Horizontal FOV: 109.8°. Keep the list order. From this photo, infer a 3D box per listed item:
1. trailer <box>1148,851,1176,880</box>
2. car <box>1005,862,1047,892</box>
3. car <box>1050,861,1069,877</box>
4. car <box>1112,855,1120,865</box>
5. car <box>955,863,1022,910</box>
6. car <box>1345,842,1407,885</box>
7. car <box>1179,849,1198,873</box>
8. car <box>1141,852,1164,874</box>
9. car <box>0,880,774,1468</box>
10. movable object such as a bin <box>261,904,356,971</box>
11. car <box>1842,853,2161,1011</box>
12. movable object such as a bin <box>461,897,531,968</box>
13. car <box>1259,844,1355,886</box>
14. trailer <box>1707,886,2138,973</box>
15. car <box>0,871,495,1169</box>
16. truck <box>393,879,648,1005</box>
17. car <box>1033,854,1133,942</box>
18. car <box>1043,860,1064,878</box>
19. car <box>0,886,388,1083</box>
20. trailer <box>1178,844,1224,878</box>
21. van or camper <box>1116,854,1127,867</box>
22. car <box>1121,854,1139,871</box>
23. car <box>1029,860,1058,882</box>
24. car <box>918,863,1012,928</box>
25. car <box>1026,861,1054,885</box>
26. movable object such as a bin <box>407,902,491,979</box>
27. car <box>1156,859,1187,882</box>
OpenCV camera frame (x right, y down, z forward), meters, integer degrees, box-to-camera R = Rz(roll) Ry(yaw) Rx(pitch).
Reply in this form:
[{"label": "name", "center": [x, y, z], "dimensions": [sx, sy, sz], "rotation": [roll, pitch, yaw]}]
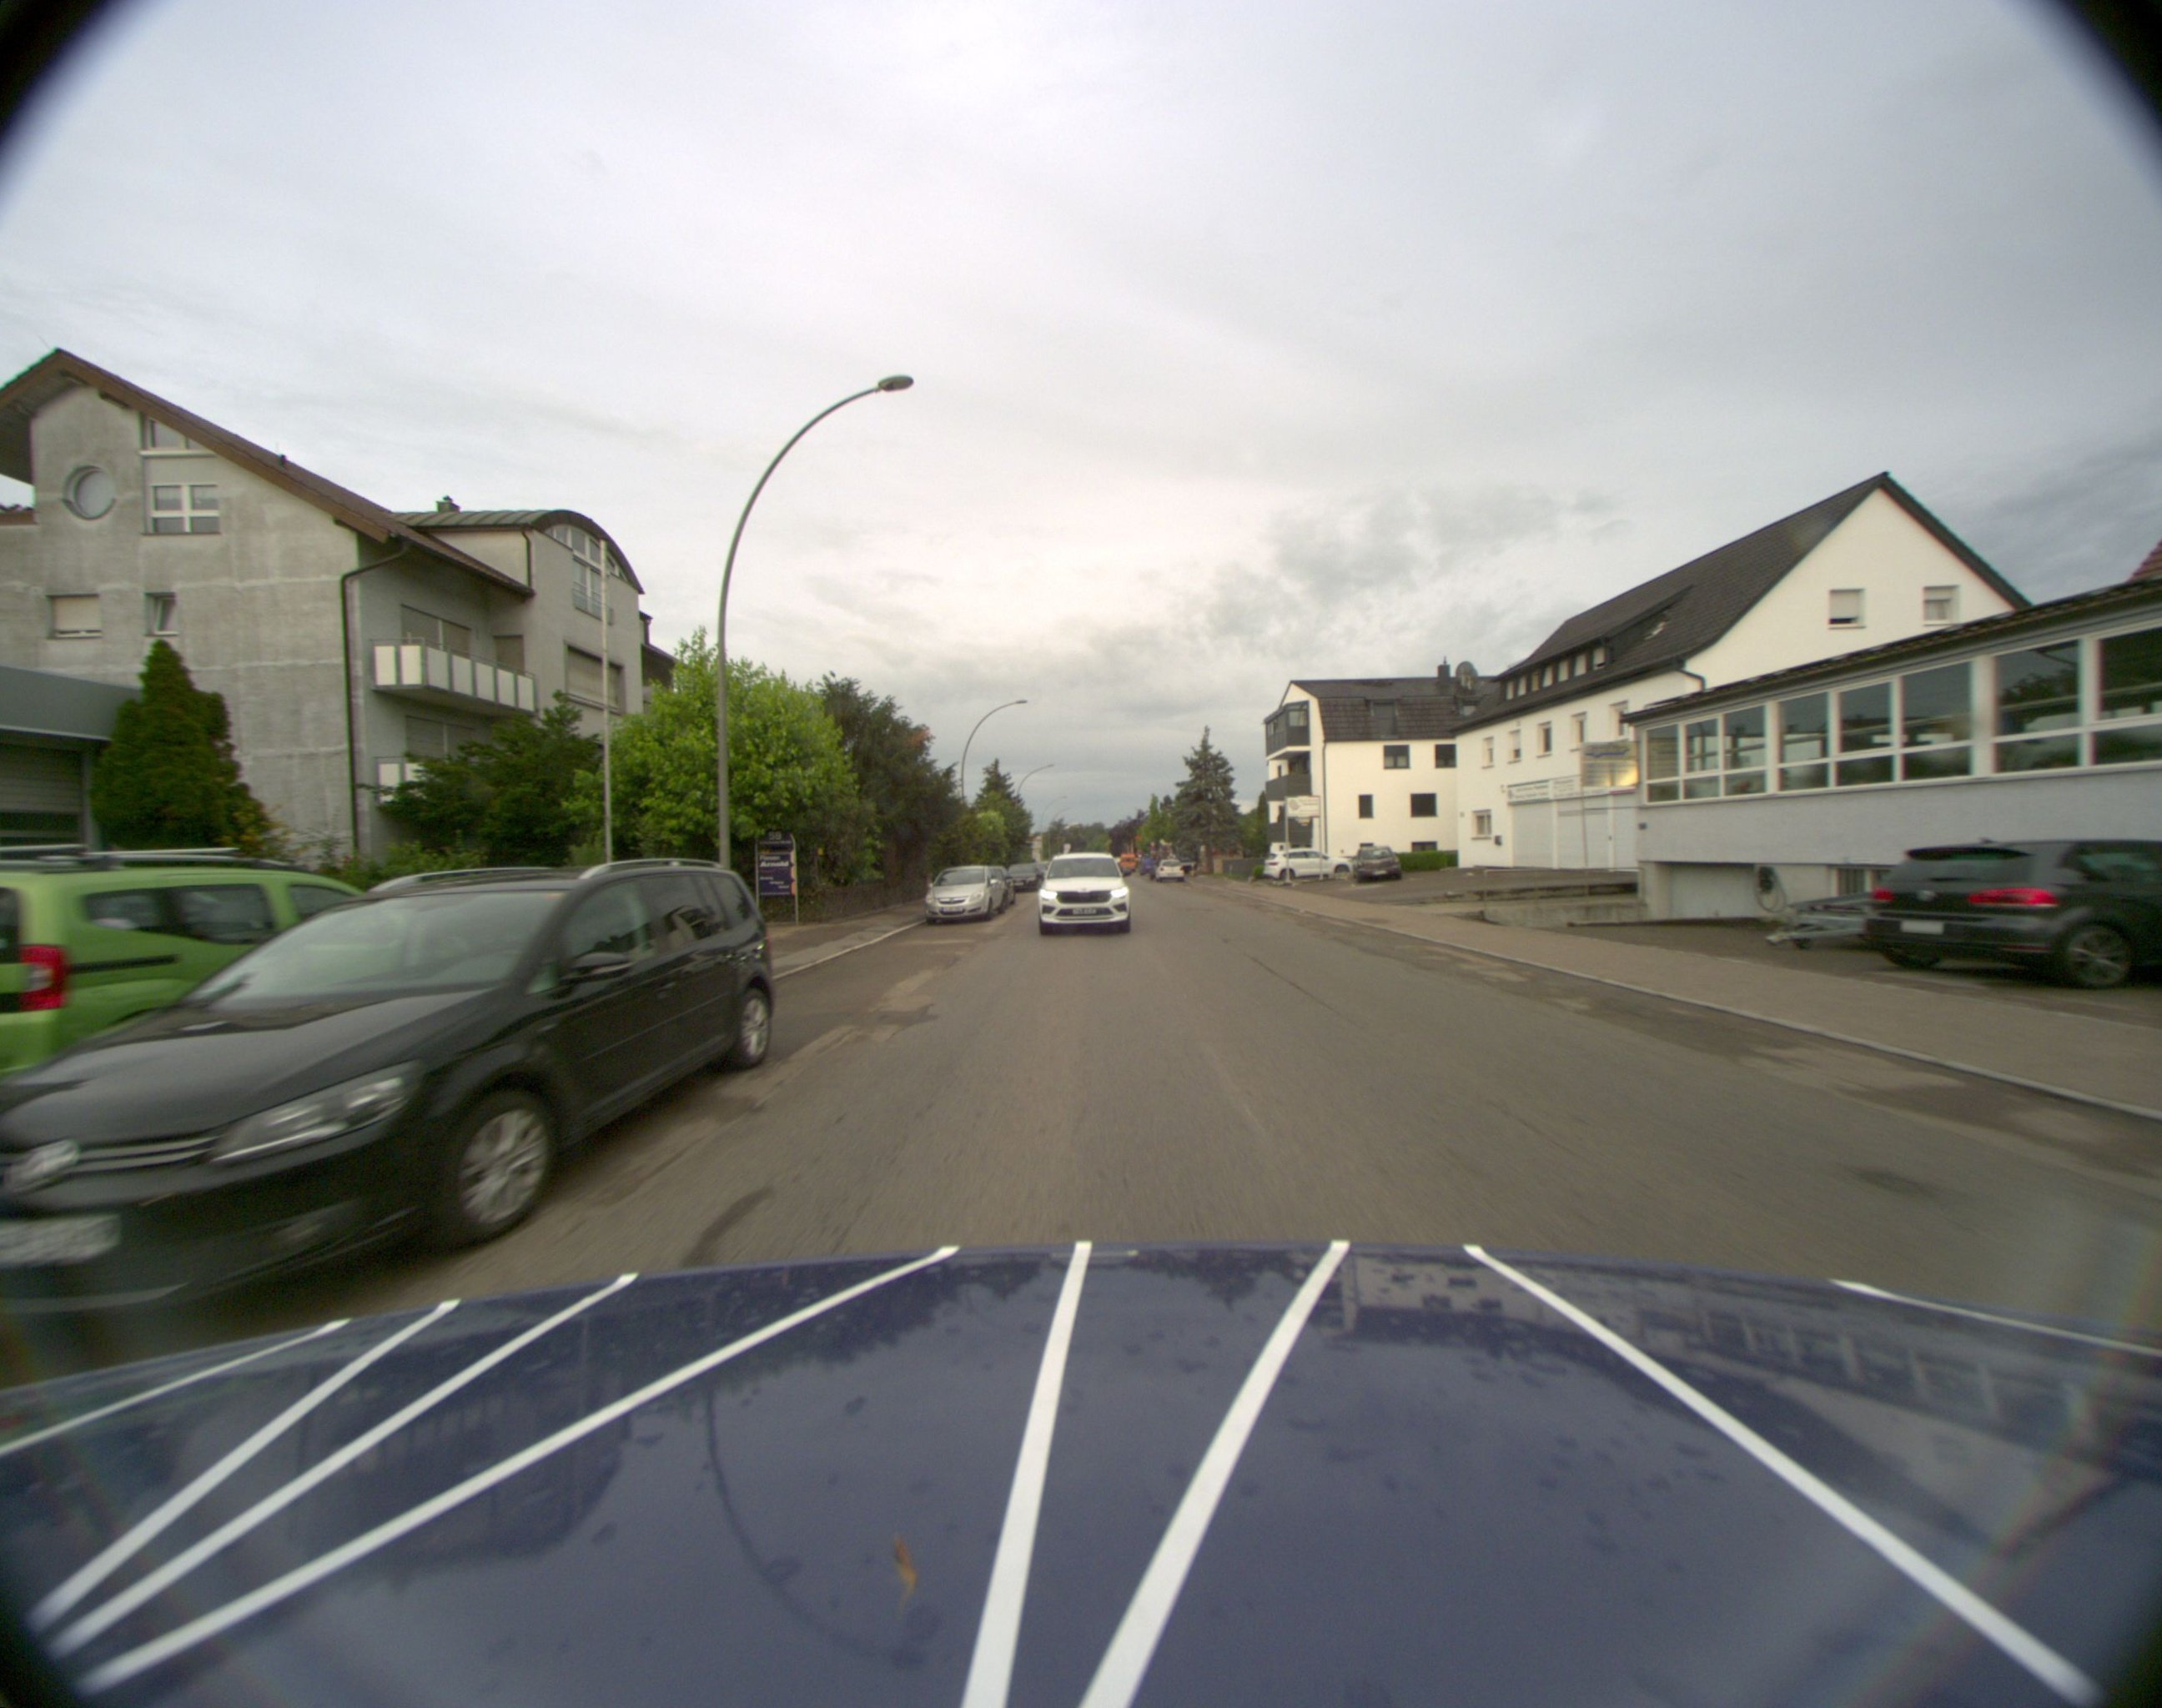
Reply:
[{"label": "trailer", "center": [6.116, 0.842, 57.802], "dimensions": [1.721, 2.114, 4.007], "rotation": [-2, 0, 1]}, {"label": "car", "center": [-2.804, 1.144, 39.298], "dimensions": [1.756, 1.410, 4.110], "rotation": [-1, 0, 1]}, {"label": "car", "center": [-2.136, 1.452, 75.595], "dimensions": [1.677, 1.455, 3.551], "rotation": [-3, 0, 1]}, {"label": "car", "center": [8.071, 1.272, 173.804], "dimensions": [1.659, 2.220, 3.744], "rotation": [-2, 0, 1]}, {"label": "car", "center": [-3.113, 1.076, 26.312], "dimensions": [1.742, 1.394, 3.719], "rotation": [-3, 0, 1]}, {"label": "car", "center": [12.613, 0.357, 32.687], "dimensions": [1.822, 1.521, 4.003], "rotation": [-7, 0, 14]}, {"label": "car", "center": [11.240, 0.709, 79.316], "dimensions": [1.569, 2.392, 3.595], "rotation": [-1, 0, 2]}, {"label": "car", "center": [7.096, 0.887, 75.681], "dimensions": [1.998, 2.112, 4.755], "rotation": [-1, 0, 2]}, {"label": "car", "center": [-3.513, 1.010, 4.200], "dimensions": [1.999, 1.586, 4.000], "rotation": [-1, 0, -1]}, {"label": "movable object such as a bin", "center": [-13.835, 1.488, 13.634], "dimensions": [0.860, 1.072, 0.759], "rotation": [-3, 1, 0]}, {"label": "car", "center": [10.871, 0.729, 8.023], "dimensions": [3.883, 1.430, 1.768], "rotation": [-1, 0, 0]}, {"label": "movable object such as a bin", "center": [-9.465, 1.250, 12.314], "dimensions": [0.576, 1.069, 0.682], "rotation": [-1, 1, 0]}, {"label": "car", "center": [11.096, 0.520, 37.457], "dimensions": [3.997, 1.637, 2.000], "rotation": [-5, 0, -1]}, {"label": "trailer", "center": [11.714, 1.022, 10.788], "dimensions": [4.208, 0.937, 1.794], "rotation": [-2, 0, -2]}, {"label": "car", "center": [-7.423, 1.046, 6.387], "dimensions": [1.999, 1.673, 3.999], "rotation": [-2, 0, -3]}, {"label": "truck", "center": [-7.518, 1.147, 10.304], "dimensions": [2.559, 1.521, 1.327], "rotation": [-1, 0, 9]}, {"label": "car", "center": [0.078, 0.862, 17.027], "dimensions": [1.884, 1.650, 4.831], "rotation": [-1, 0, 1]}, {"label": "car", "center": [-2.474, 1.346, 69.541], "dimensions": [1.677, 1.455, 3.690], "rotation": [-3, 0, 1]}, {"label": "car", "center": [-10.110, 1.189, 8.304], "dimensions": [1.752, 1.510, 3.731], "rotation": [2, 0, -3]}, {"label": "trailer", "center": [11.549, 0.669, 73.245], "dimensions": [4.059, 3.029, 2.168], "rotation": [-2, 1, 1]}, {"label": "van or camper", "center": [7.362, 1.234, 138.863], "dimensions": [1.811, 2.328, 4.000], "rotation": [-2, 0, 2]}, {"label": "car", "center": [6.930, 1.192, 107.386], "dimensions": [2.264, 2.275, 4.531], "rotation": [1, 0, 1]}, {"label": "car", "center": [-2.588, 1.153, 53.540], "dimensions": [1.766, 1.431, 4.484], "rotation": [-1, 0, 0]}, {"label": "car", "center": [-3.071, 1.066, 20.837], "dimensions": [1.741, 1.493, 3.882], "rotation": [-3, 0, 3]}, {"label": "car", "center": [-2.618, 1.221, 48.875], "dimensions": [1.656, 1.431, 4.043], "rotation": [-1, 0, -1]}, {"label": "movable object such as a bin", "center": [-9.511, 1.282, 11.456], "dimensions": [0.671, 1.069, 0.682], "rotation": [-1, 1, 0]}, {"label": "car", "center": [6.058, 1.077, 51.229], "dimensions": [1.740, 1.496, 3.871], "rotation": [-1, 0, 1]}]
